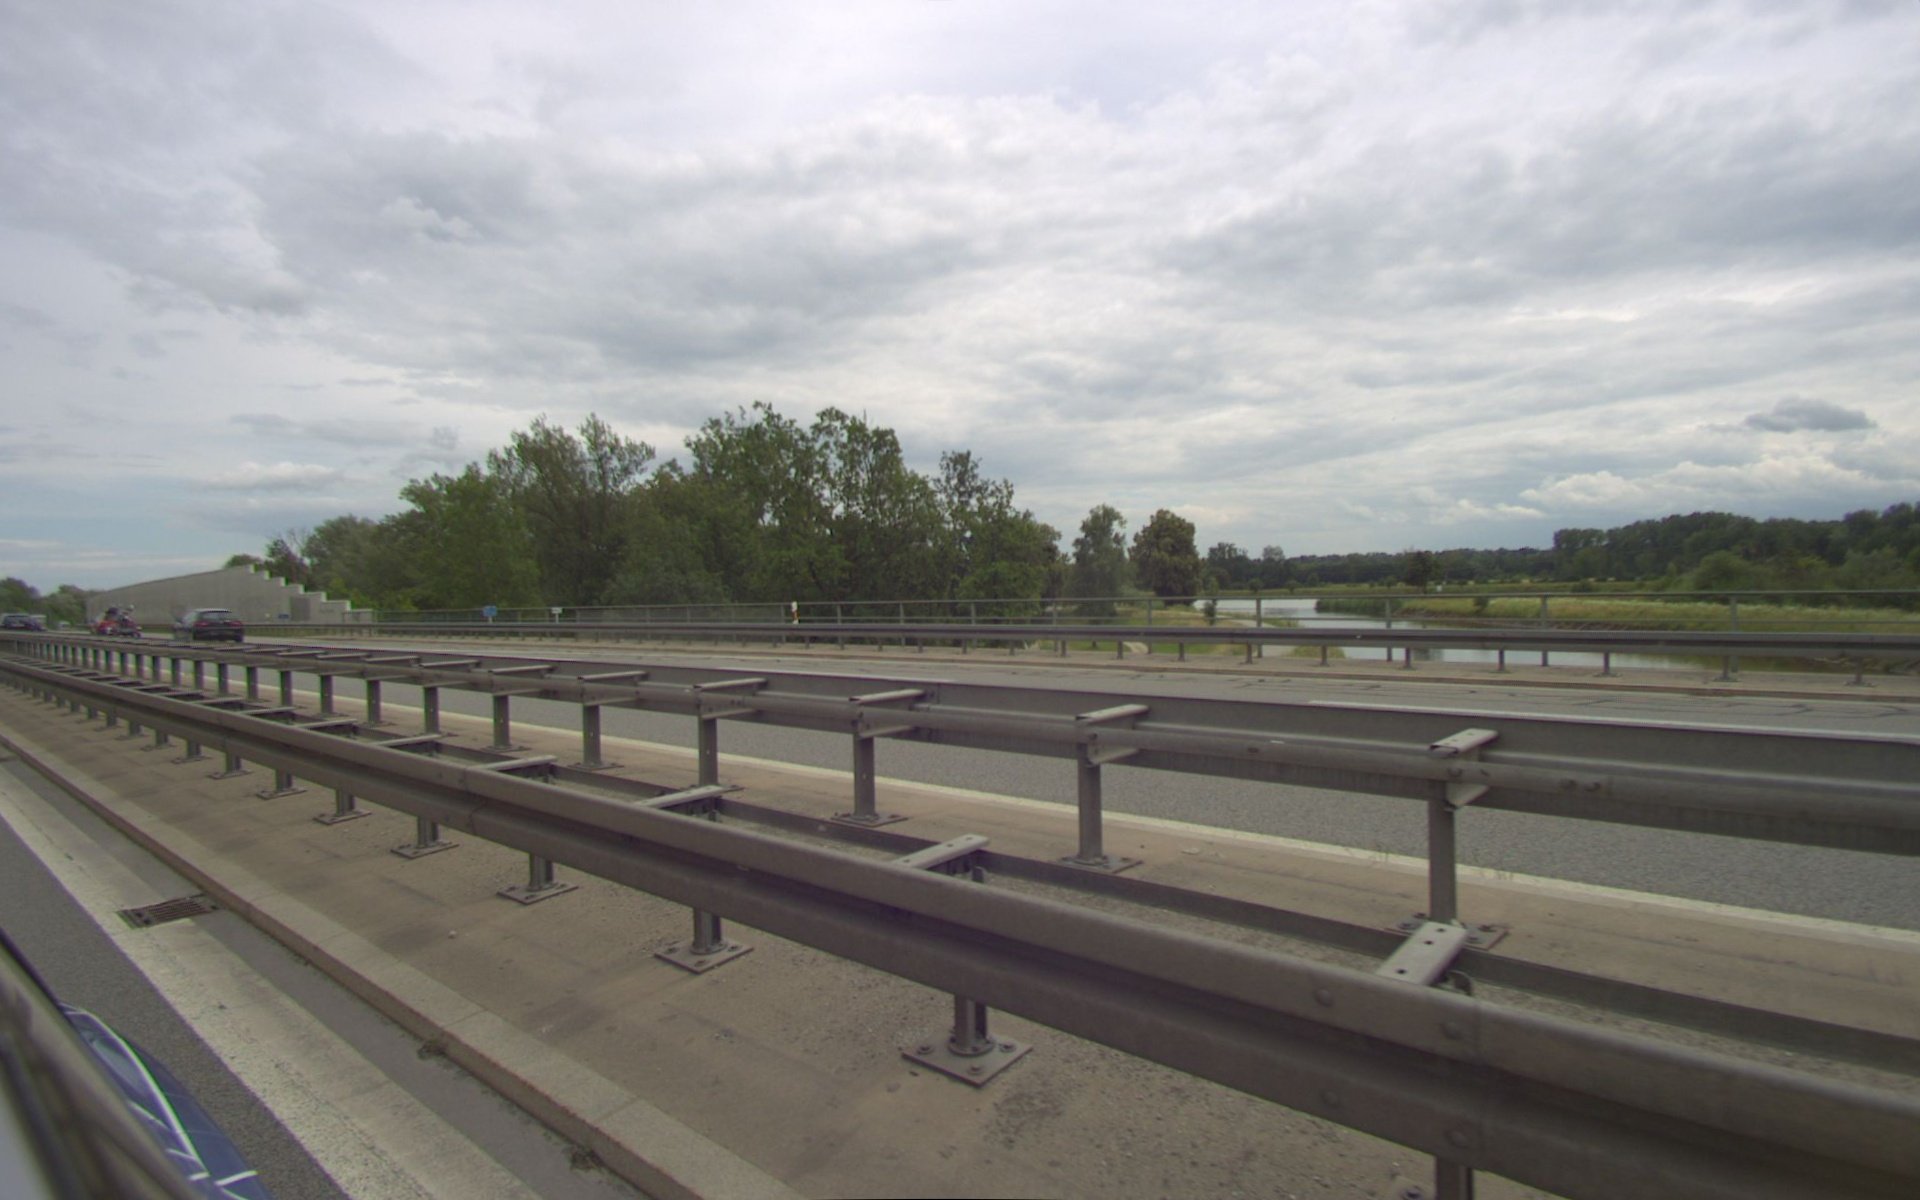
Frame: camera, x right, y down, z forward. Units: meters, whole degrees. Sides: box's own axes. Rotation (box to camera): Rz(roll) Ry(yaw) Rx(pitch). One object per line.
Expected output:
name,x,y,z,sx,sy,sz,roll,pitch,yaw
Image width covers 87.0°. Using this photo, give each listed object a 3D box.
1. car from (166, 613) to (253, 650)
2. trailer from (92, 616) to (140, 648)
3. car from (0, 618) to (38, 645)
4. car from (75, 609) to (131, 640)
car,-30.629,1.268,41.262,4.708,1.414,1.949,-2,-2,42
trailer,-48.302,1.812,57.911,3.375,1.761,1.630,-2,0,42
car,-55.976,1.860,59.716,4.834,1.542,1.821,-2,-2,42
car,-51.433,1.486,60.716,4.943,1.774,1.949,-2,-1,42
